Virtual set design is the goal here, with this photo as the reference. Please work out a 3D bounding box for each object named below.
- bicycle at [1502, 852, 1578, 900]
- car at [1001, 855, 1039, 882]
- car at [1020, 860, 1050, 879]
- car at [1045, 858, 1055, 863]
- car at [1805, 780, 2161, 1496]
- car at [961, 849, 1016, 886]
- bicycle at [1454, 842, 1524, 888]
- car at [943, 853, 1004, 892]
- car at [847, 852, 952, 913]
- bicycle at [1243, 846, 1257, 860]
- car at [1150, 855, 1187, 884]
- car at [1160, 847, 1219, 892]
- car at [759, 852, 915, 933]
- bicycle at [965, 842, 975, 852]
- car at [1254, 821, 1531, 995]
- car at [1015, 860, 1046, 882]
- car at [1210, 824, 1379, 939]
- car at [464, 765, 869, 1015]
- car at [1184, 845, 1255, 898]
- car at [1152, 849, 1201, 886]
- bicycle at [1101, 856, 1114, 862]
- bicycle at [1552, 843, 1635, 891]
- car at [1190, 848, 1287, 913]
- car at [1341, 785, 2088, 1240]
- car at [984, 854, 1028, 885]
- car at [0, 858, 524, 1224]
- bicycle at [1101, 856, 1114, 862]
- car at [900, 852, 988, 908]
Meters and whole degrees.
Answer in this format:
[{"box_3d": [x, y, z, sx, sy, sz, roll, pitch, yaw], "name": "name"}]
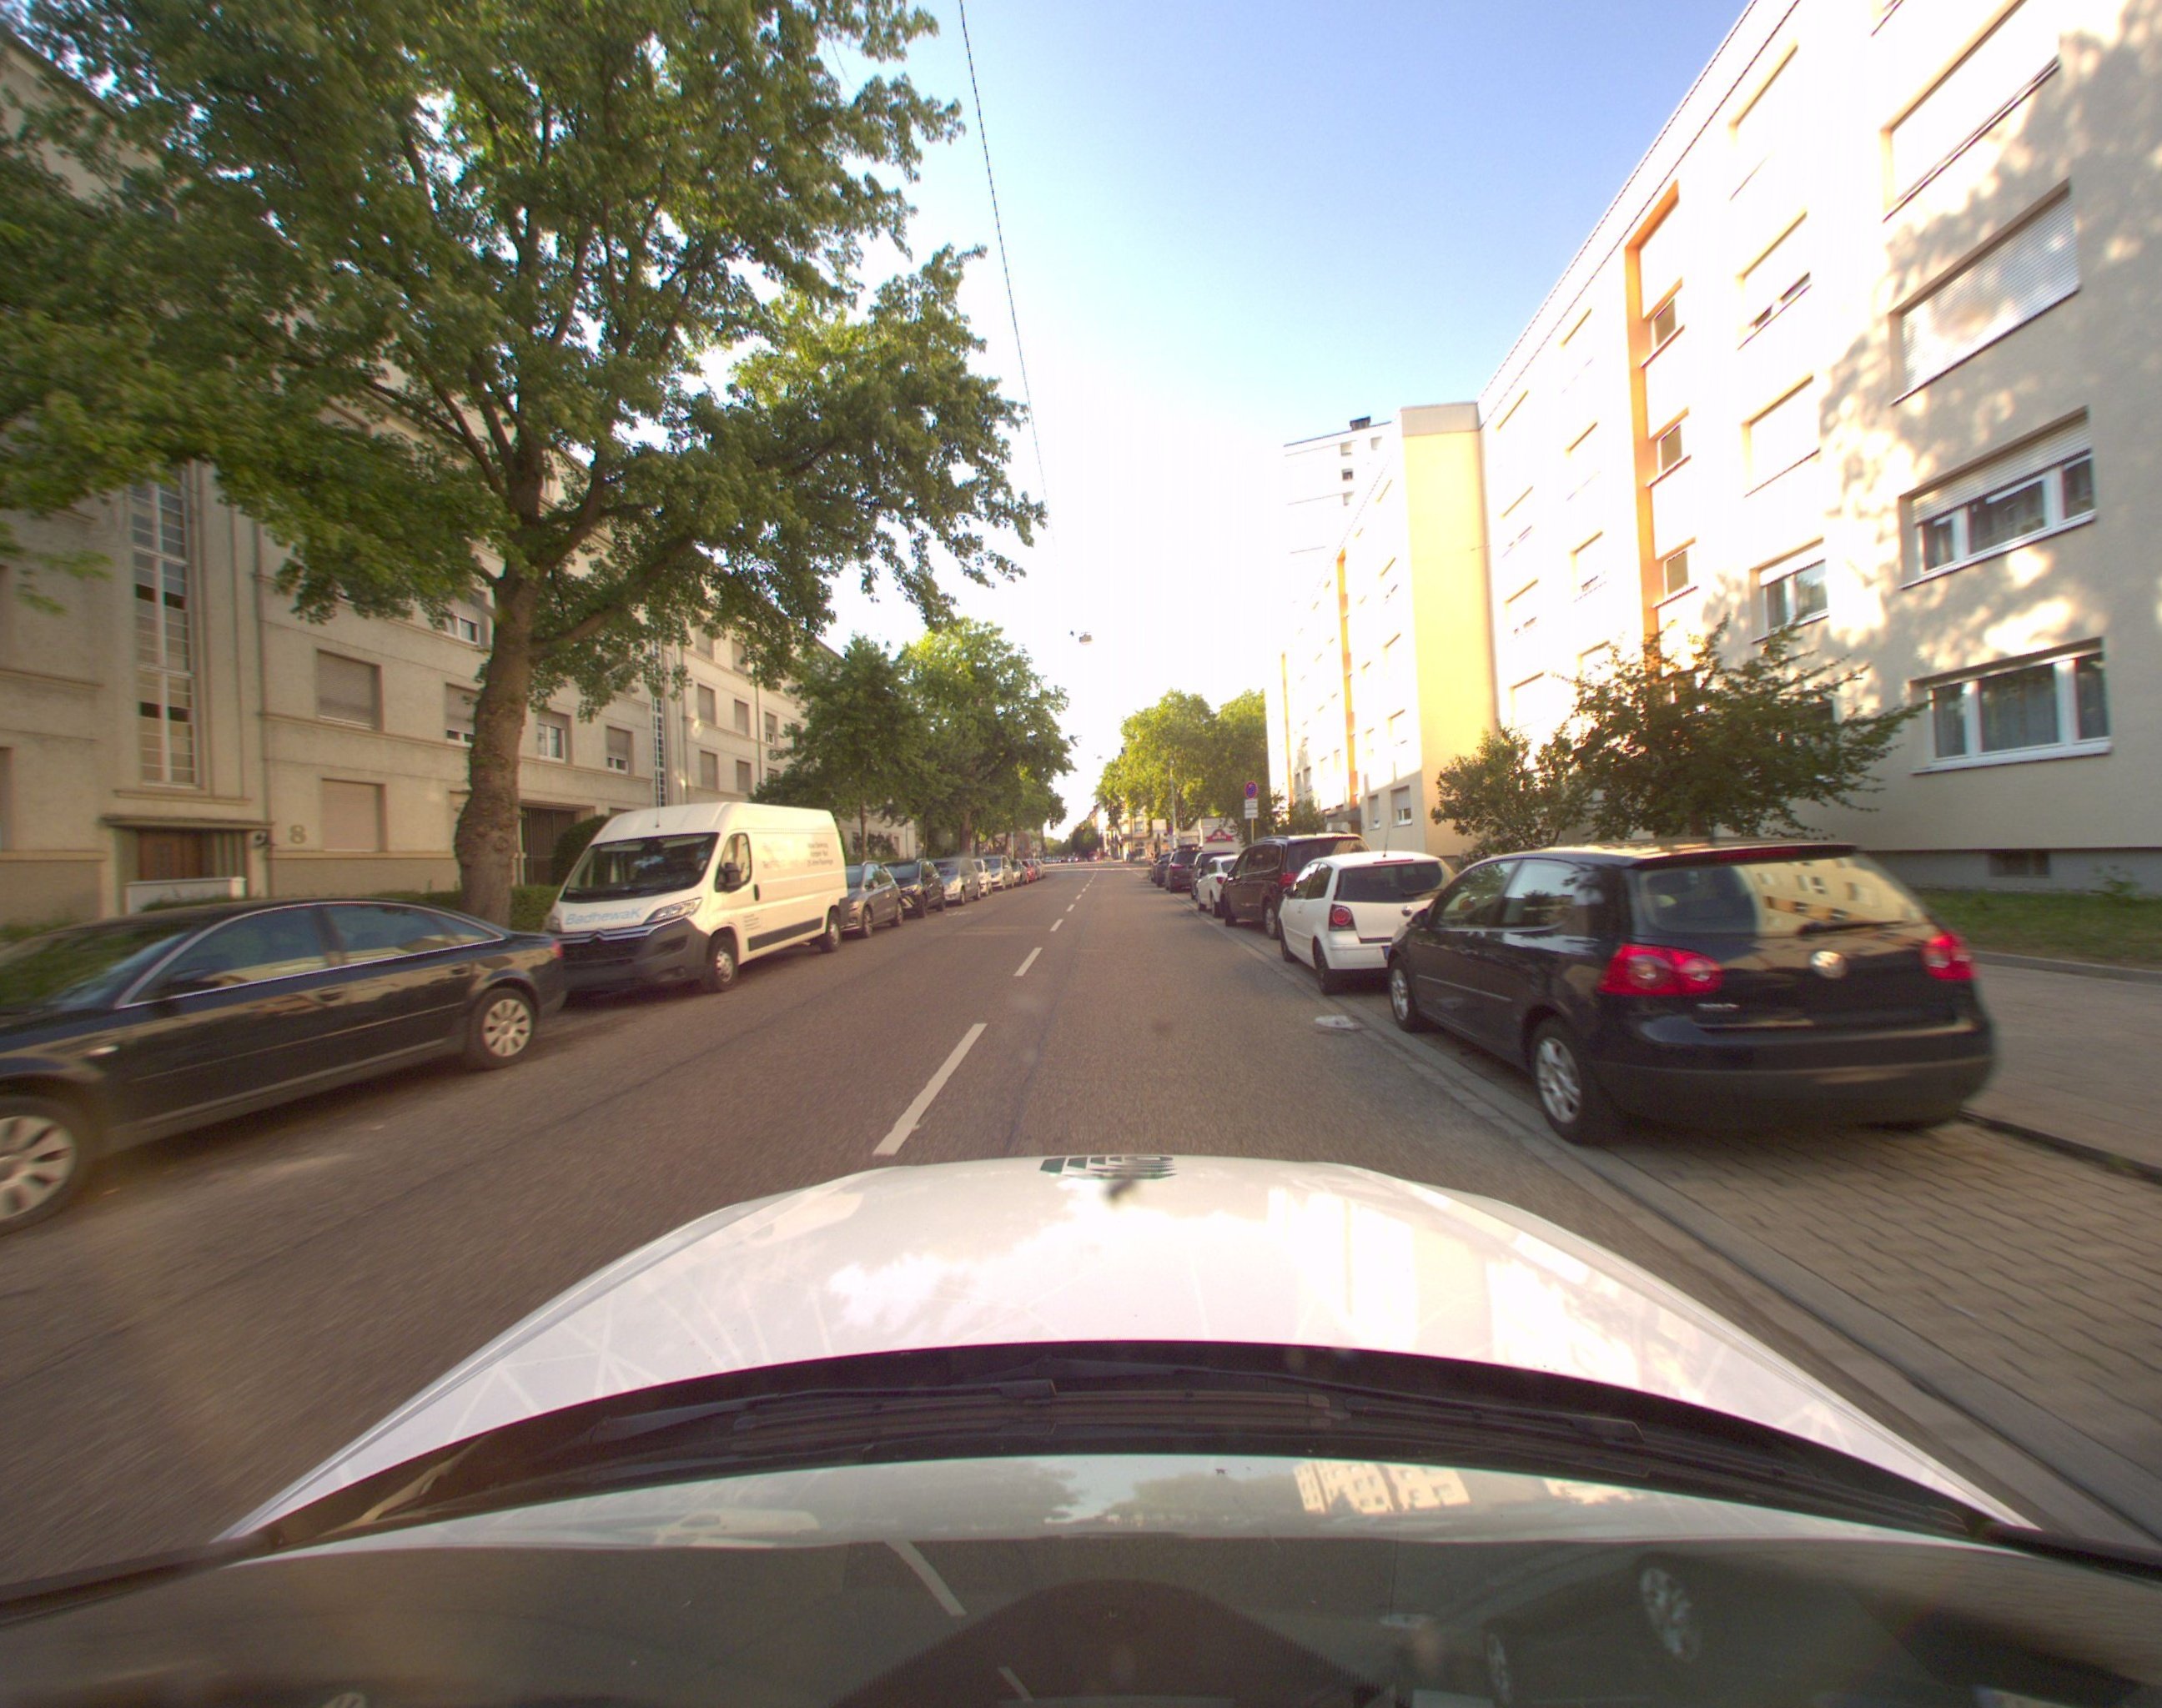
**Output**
[{"box_3d": [11.427, 0.514, 20.364, 0.598, 1.081, 2.395, -3, 1, 2], "name": "bicycle"}, {"box_3d": [-3.690, 0.915, 49.601, 1.863, 1.558, 4.001, 0, -1, 2], "name": "car"}, {"box_3d": [-3.350, 1.172, 60.130, 1.762, 1.352, 4.712, 0, -1, 2], "name": "car"}, {"box_3d": [-8.055, 1.667, 212.278, 1.581, 1.144, 3.398, -1, -1, 17], "name": "car"}, {"box_3d": [3.289, 0.541, 0.457, 1.954, 1.605, 4.281, -4, -1, 2], "name": "car"}, {"box_3d": [-4.357, 0.669, 39.250, 1.909, 1.677, 4.976, 0, -1, 2], "name": "car"}, {"box_3d": [10.296, 0.242, 20.649, 0.598, 1.081, 2.395, -3, 1, 2], "name": "bicycle"}, {"box_3d": [-4.457, 0.770, 34.365, 1.863, 1.558, 4.102, 0, -1, 2], "name": "car"}, {"box_3d": [-5.036, 0.788, 23.187, 1.863, 1.558, 4.367, 0, -1, 2], "name": "car"}, {"box_3d": [12.041, -0.102, 58.115, 0.634, 0.925, 2.231, 0, 1, 2], "name": "bicycle"}, {"box_3d": [4.741, 0.844, 44.573, 1.734, 1.473, 4.001, 0, -1, 2], "name": "car"}, {"box_3d": [4.319, 0.603, 33.091, 1.890, 1.651, 4.344, -2, 0, 2], "name": "car"}, {"box_3d": [-5.127, 0.784, 17.818, 1.949, 1.558, 4.347, 0, -1, 2], "name": "car"}, {"box_3d": [-13.661, -0.830, 100.534, 0.715, 1.145, 3.293, 0, -1, 2], "name": "bicycle"}, {"box_3d": [3.394, 0.556, 9.829, 1.829, 1.501, 4.175, -5, -2, 3], "name": "car"}, {"box_3d": [-3.354, 1.125, 54.751, 1.697, 1.440, 4.130, 0, -1, 2], "name": "car"}, {"box_3d": [3.760, 0.483, 15.298, 2.016, 1.750, 4.768, -2, -1, 2], "name": "car"}, {"box_3d": [-5.364, 0.457, 12.015, 2.349, 2.445, 6.168, -8, -2, 2], "name": "car"}, {"box_3d": [4.279, 0.549, 25.683, 1.600, 1.494, 4.043, -2, -1, 2], "name": "car"}, {"box_3d": [4.496, 0.665, 38.988, 1.919, 1.659, 4.679, 0, -1, 2], "name": "car"}, {"box_3d": [5.723, 1.114, 178.327, 2.802, 1.204, 0.515, 0, -2, -9], "name": "bicycle"}, {"box_3d": [12.552, 0.289, 20.046, 0.598, 1.081, 2.395, -3, 1, 2], "name": "bicycle"}, {"box_3d": [3.803, 0.638, 20.425, 1.673, 1.415, 4.725, 0, -1, 2], "name": "car"}, {"box_3d": [3.257, 0.702, 5.389, 1.830, 1.772, 3.980, -4, -1, 2], "name": "car"}, {"box_3d": [-4.030, 0.851, 44.455, 1.863, 1.558, 4.499, 0, -1, 2], "name": "car"}, {"box_3d": [-5.475, 0.882, 4.687, 1.700, 1.574, 3.821, -4, -1, 3], "name": "car"}, {"box_3d": [5.767, 1.094, 176.761, 2.798, 1.204, 0.509, 0, -2, -5], "name": "bicycle"}, {"box_3d": [-4.580, 0.813, 27.990, 1.864, 1.558, 5.059, -7, 0, 2], "name": "car"}]
